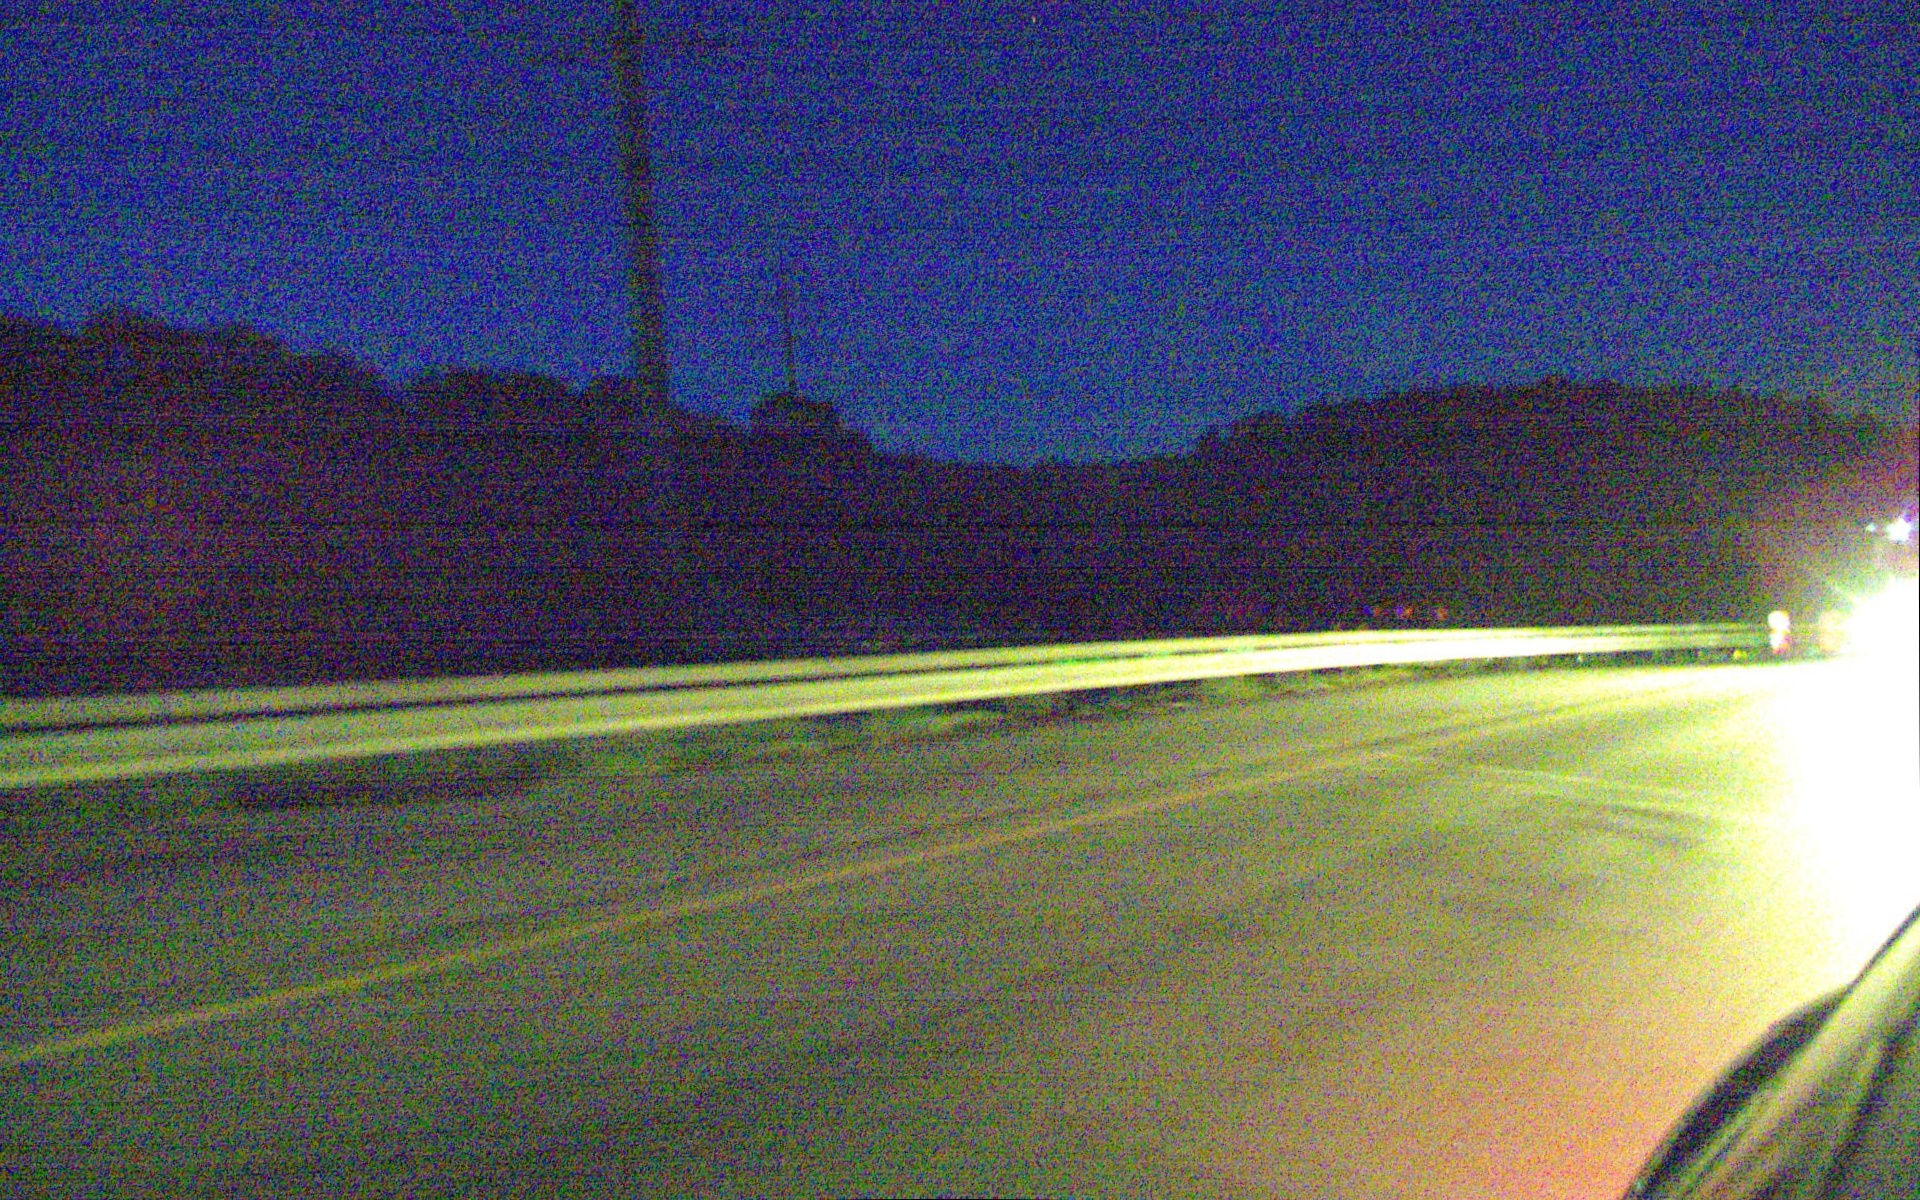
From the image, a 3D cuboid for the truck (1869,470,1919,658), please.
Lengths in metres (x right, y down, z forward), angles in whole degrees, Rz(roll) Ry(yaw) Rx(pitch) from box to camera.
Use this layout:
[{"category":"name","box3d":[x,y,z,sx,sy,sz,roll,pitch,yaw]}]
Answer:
[{"category":"truck","box3d":[29.119,-0.906,27.921,16.829,4.329,2.972,-1,0,-38]}]
